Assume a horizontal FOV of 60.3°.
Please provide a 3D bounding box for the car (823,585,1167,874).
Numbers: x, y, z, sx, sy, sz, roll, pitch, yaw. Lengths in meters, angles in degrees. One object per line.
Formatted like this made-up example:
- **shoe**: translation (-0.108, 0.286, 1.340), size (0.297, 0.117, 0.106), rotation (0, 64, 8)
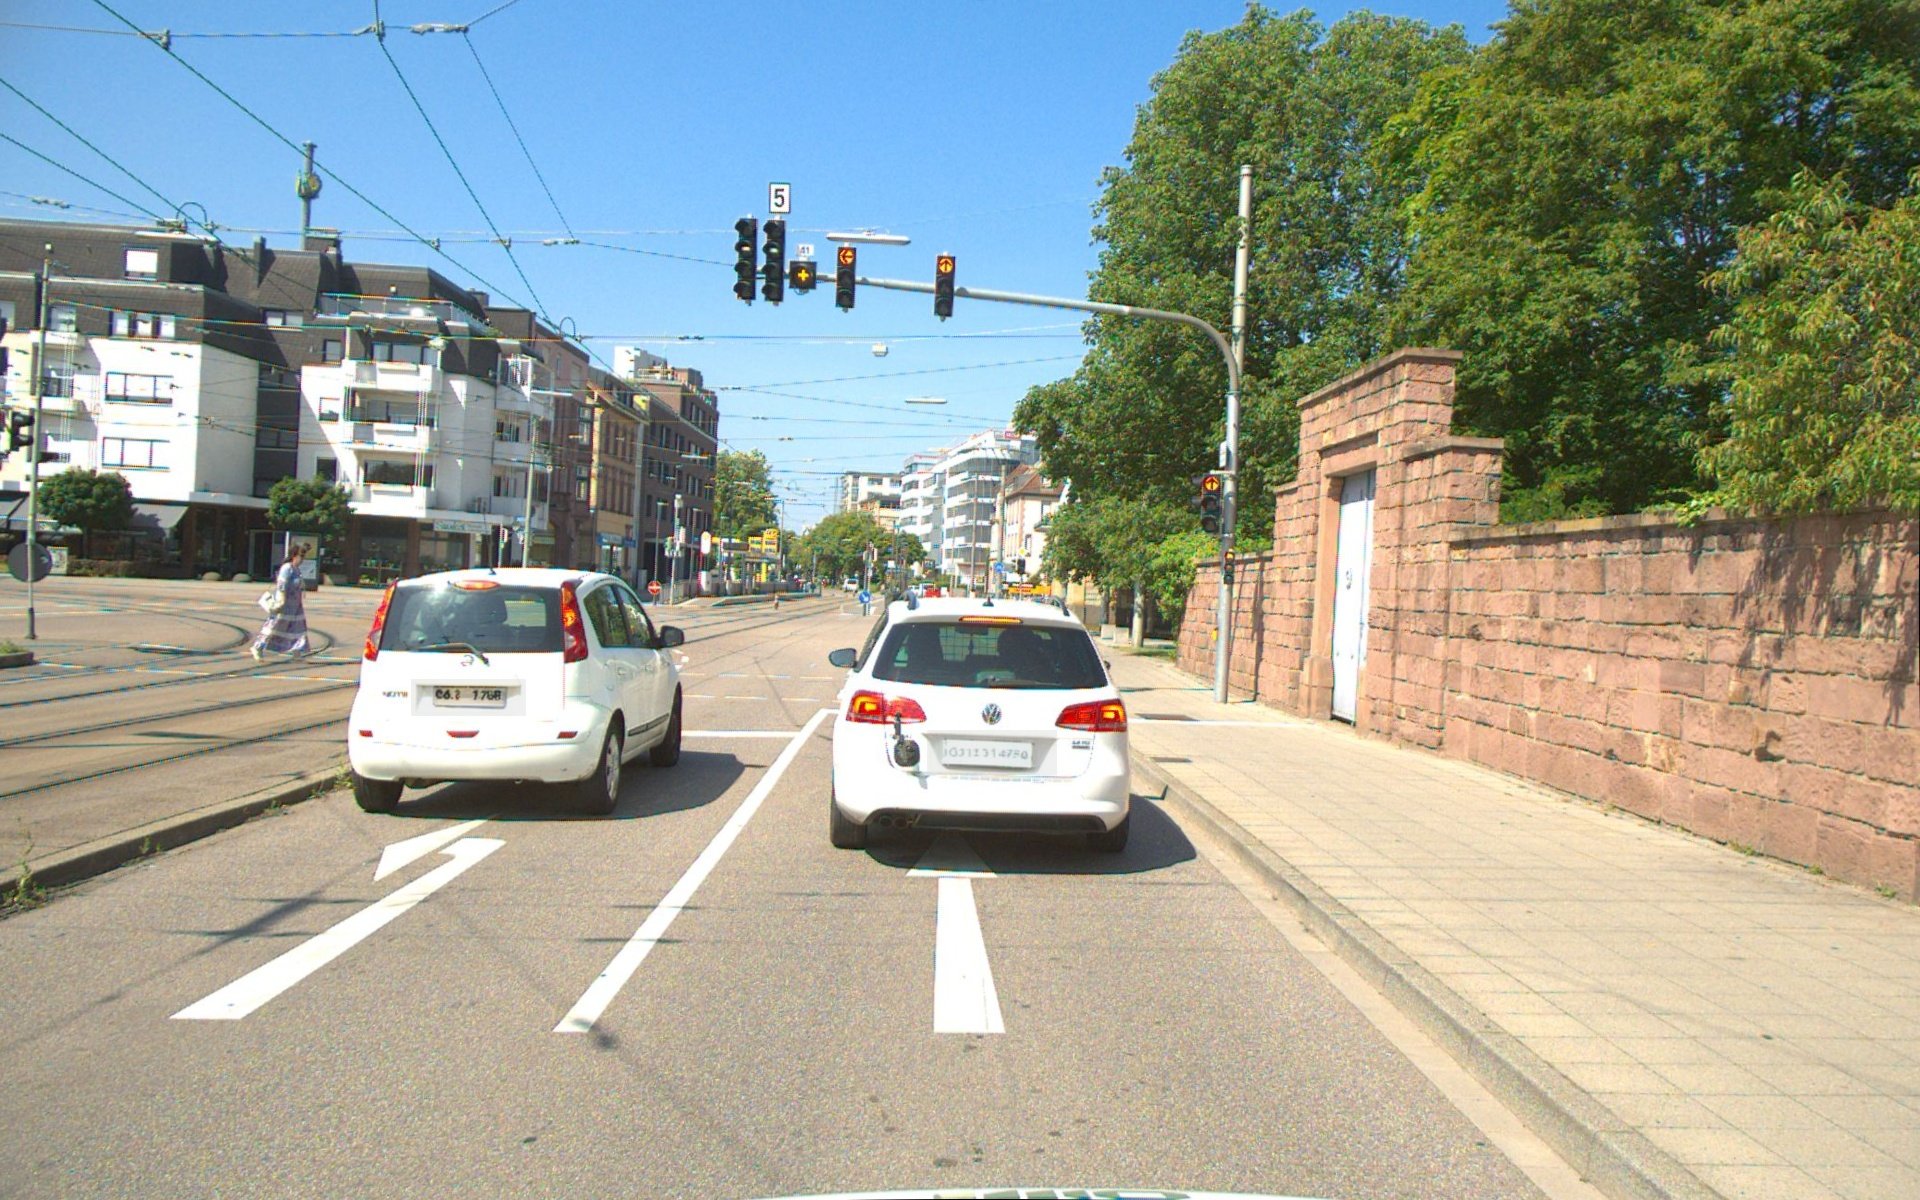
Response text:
- **car**: translation (0.153, 0.661, 10.628), size (1.771, 1.473, 3.999), rotation (1, 1, -1)

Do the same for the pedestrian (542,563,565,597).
- **pedestrian**: translation (-21.202, -1.030, 86.271), size (0.962, 1.773, 0.855), rotation (1, -1, -33)

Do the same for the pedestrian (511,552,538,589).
- **pedestrian**: translation (-21.098, -1.412, 80.137), size (0.850, 1.773, 0.968), rotation (0, -1, 44)

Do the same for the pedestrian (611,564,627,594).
- **pedestrian**: translation (-20.952, -1.280, 101.713), size (0.845, 1.773, 0.973), rotation (1, -1, -6)

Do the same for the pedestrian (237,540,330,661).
- **pedestrian**: translation (-9.603, 0.009, 23.518), size (0.953, 1.680, 0.955), rotation (1, -1, -5)

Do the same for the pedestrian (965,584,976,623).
- **pedestrian**: translation (0.632, 0.218, 99.679), size (0.675, 2.366, 1.232), rotation (1, -1, 1)

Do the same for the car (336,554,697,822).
- **car**: translation (-2.984, 0.491, 11.908), size (1.608, 1.593, 3.803), rotation (1, 1, -1)

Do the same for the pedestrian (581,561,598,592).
- **pedestrian**: translation (-21.450, -1.340, 95.726), size (0.845, 1.773, 0.973), rotation (1, -1, -6)
